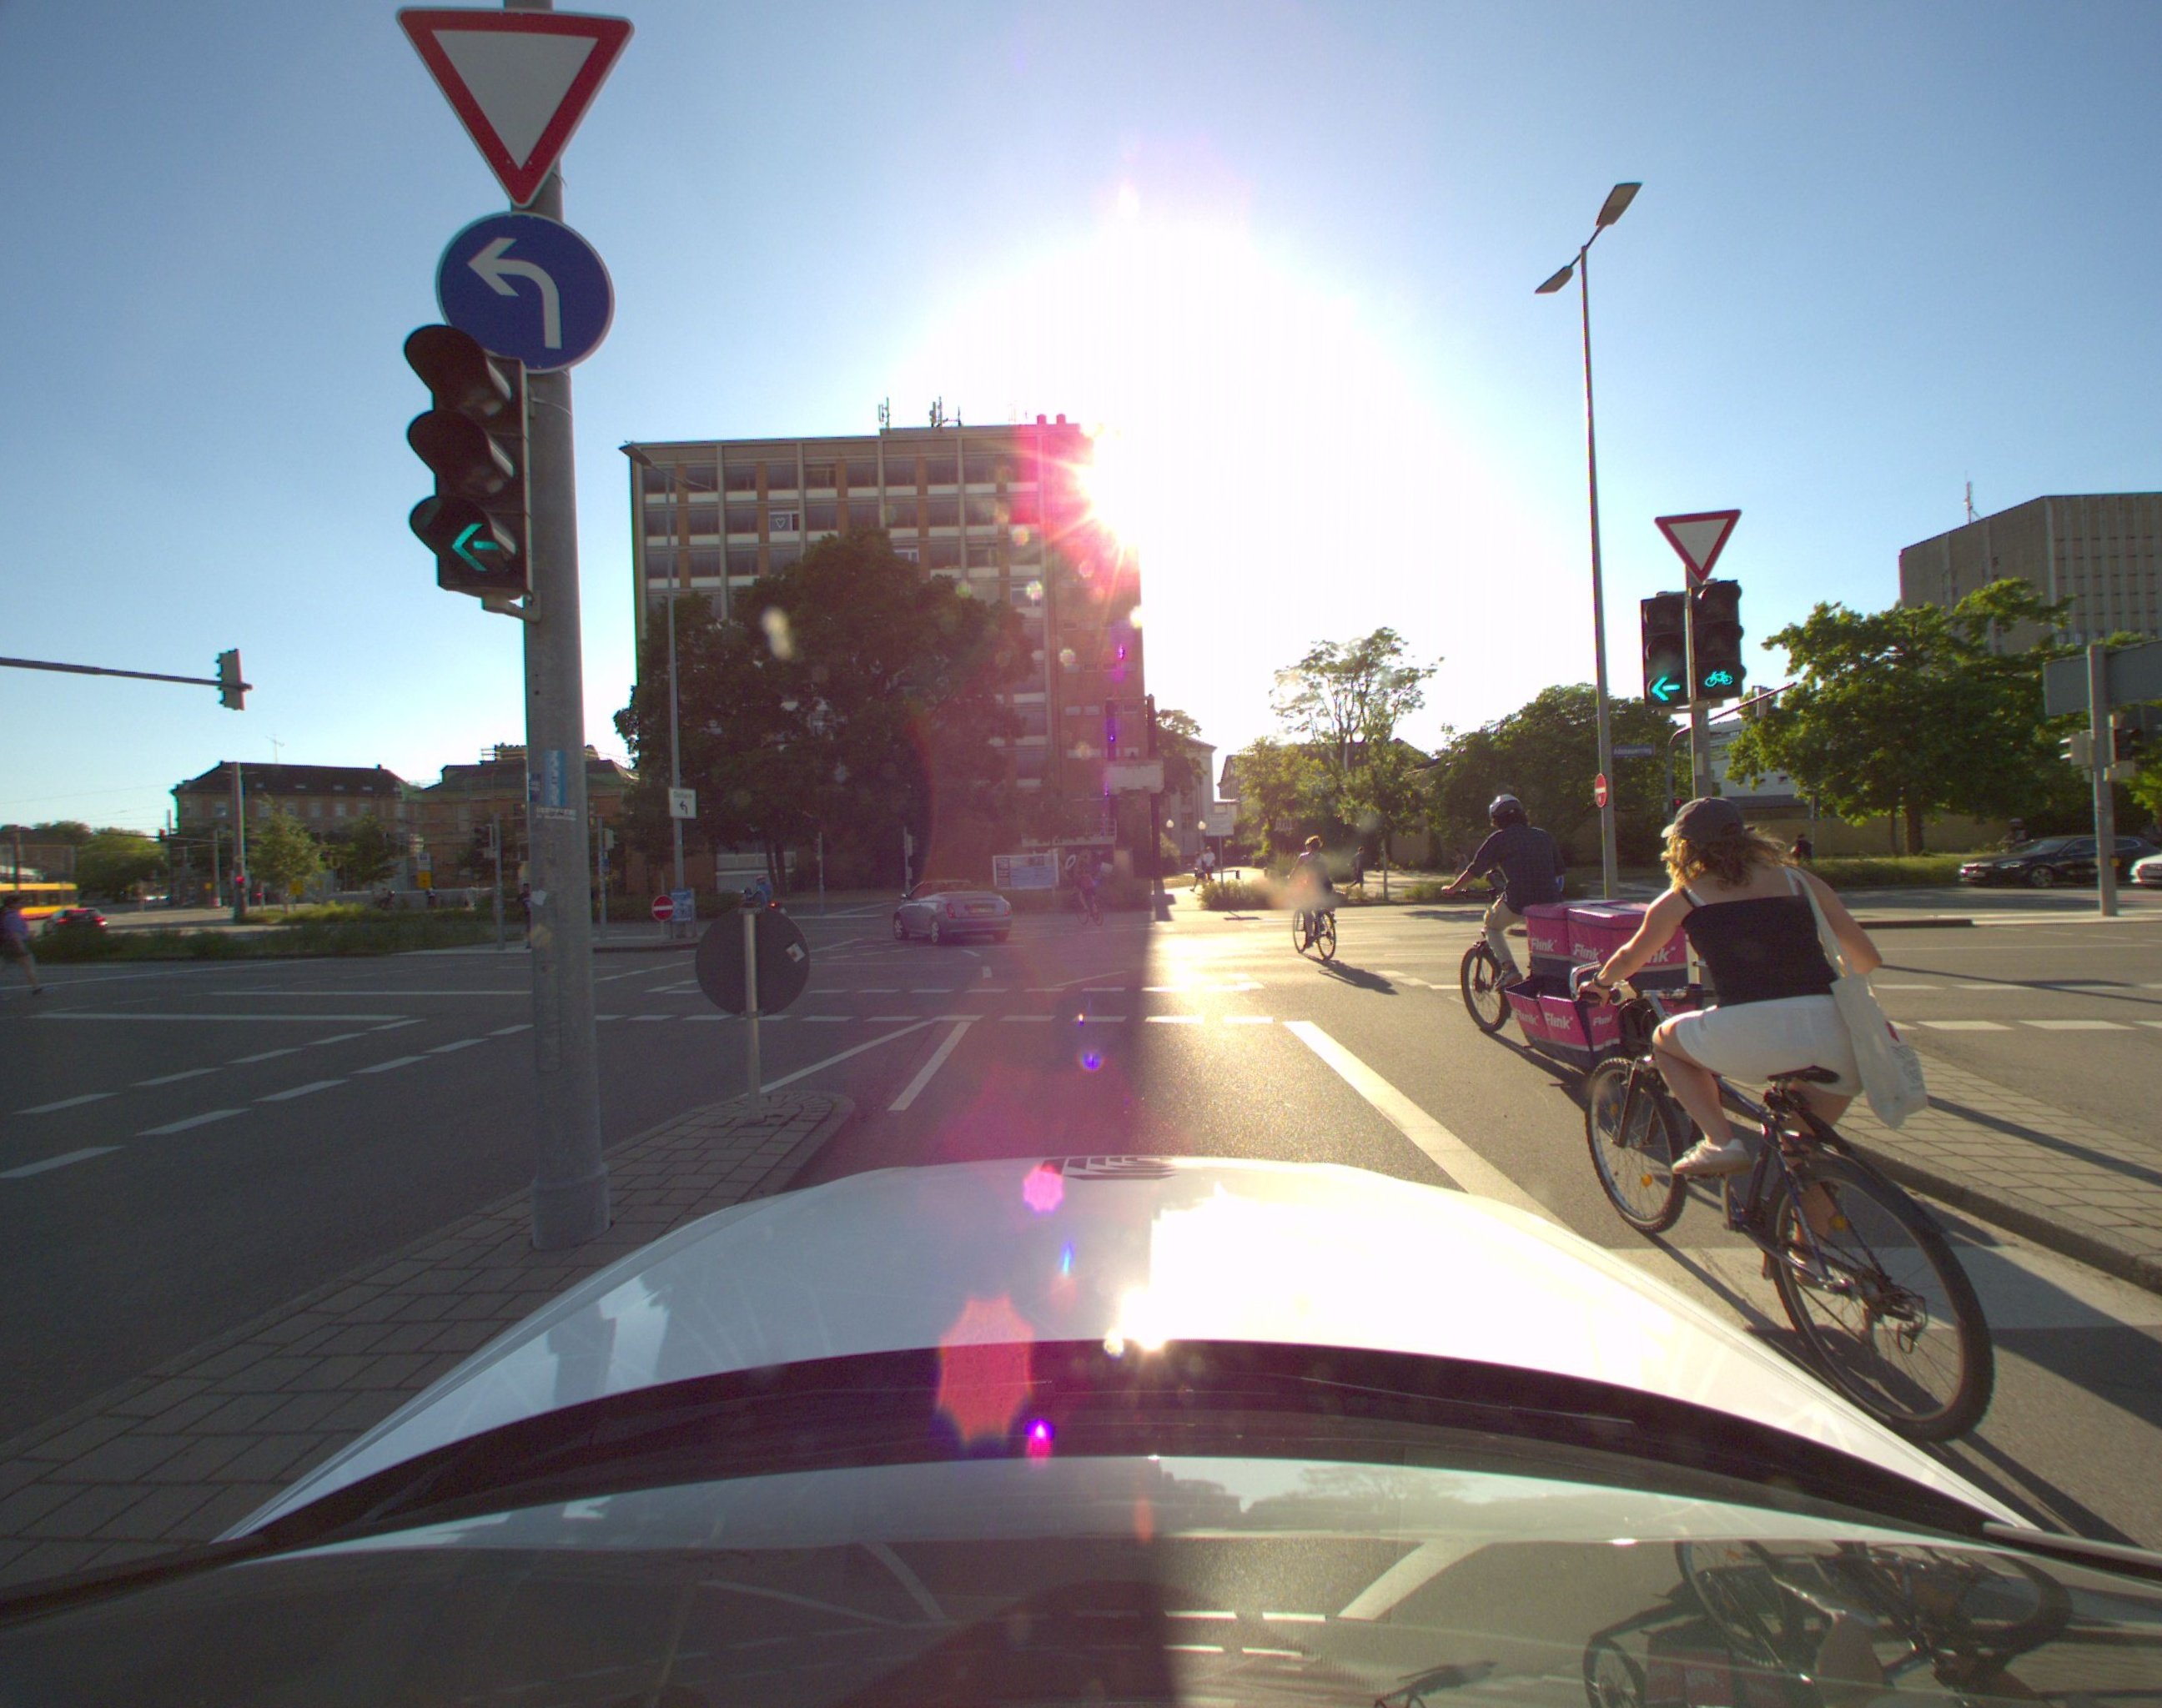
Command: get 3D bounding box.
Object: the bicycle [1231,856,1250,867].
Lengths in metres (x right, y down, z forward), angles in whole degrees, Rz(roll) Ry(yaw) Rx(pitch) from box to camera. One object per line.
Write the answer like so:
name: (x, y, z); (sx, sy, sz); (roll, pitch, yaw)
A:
bicycle: (15.838, 0.713, 80.755); (1.786, 1.107, 0.500); (0, -1, 3)

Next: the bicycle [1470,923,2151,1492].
bicycle: (2.163, 0.910, 2.845); (0.715, 1.121, 1.869); (-1, 1, 0)

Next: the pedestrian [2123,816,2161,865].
pedestrian: (39.334, -0.513, 29.879); (0.844, 1.749, 1.018); (-2, 0, -2)

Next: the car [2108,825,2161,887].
car: (28.866, -0.037, 20.065); (4.393, 1.519, 1.807); (-3, 0, 7)

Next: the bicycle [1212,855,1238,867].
bicycle: (16.181, 0.799, 91.714); (2.859, 1.381, 0.683); (0, -1, 3)

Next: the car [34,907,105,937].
car: (-54.190, 3.635, 43.619); (3.927, 1.444, 1.818); (-3, -2, 30)

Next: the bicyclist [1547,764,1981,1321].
bicyclist: (2.157, 0.526, 2.708); (0.713, 1.549, 0.849); (0, -1, 0)

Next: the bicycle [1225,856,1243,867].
bicycle: (16.046, 0.748, 85.303); (1.786, 1.107, 0.500); (0, -1, 3)

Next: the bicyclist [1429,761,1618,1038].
bicyclist: (3.210, 0.311, 6.028); (0.774, 1.833, 1.094); (-2, 0, 3)

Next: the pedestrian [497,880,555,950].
pedestrian: (-14.033, 1.532, 20.613); (0.739, 1.685, 0.904); (-2, -1, 20)

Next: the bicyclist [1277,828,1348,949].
bicyclist: (3.383, 0.489, 12.004); (0.774, 1.677, 1.095); (-2, 0, 6)

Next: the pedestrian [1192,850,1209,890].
pedestrian: (5.253, 0.705, 35.768); (0.624, 1.699, 0.625); (-3, -1, 13)

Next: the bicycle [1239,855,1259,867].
bicycle: (15.865, 0.681, 76.847); (1.786, 1.107, 0.500); (0, -1, 3)

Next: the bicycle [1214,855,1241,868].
bicycle: (16.028, 0.779, 89.135); (2.859, 1.381, 0.683); (0, -1, 3)

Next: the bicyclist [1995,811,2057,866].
bicyclist: (32.438, -0.521, 27.962); (1.082, 1.830, 0.783); (-3, -1, 13)

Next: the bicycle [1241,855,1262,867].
bicycle: (15.769, 0.648, 75.349); (1.786, 1.107, 0.500); (0, -1, 3)

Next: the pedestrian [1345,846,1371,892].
pedestrian: (10.682, 0.572, 31.460); (0.728, 1.713, 0.713); (-3, 0, 4)

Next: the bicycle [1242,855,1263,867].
bicycle: (15.670, 0.617, 74.545); (1.786, 1.107, 0.500); (0, -1, 3)

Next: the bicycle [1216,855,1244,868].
bicycle: (15.968, 0.763, 87.096); (2.859, 1.381, 0.683); (0, -1, 3)

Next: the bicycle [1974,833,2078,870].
bicycle: (32.419, -0.090, 27.976); (2.267, 1.156, 0.783); (-3, 0, 13)

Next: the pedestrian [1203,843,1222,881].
pedestrian: (6.572, 0.401, 40.729); (0.579, 1.869, 0.616); (-2, -1, -35)

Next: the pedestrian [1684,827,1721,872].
pedestrian: (24.366, -0.163, 31.944); (0.871, 1.704, 0.676); (-2, 0, -1)

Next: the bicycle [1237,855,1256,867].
bicycle: (15.921, 0.693, 78.308); (1.786, 1.107, 0.500); (0, -1, 3)

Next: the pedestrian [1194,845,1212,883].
pedestrian: (6.175, 0.515, 41.274); (0.579, 1.869, 0.616); (-2, -1, -35)

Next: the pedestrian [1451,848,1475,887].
pedestrian: (15.601, 0.541, 33.241); (0.634, 1.574, 0.623); (-3, 0, 4)

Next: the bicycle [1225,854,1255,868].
bicycle: (15.920, 0.719, 81.522); (2.859, 1.381, 0.683); (0, -1, 3)

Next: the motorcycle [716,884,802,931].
motorcycle: (-10.057, 1.664, 25.401); (2.619, 1.377, 1.106); (-3, -2, 31)

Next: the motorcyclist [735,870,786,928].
motorcyclist: (-9.972, 1.391, 25.364); (0.924, 1.721, 1.106); (-3, -2, 31)

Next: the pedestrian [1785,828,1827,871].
pedestrian: (27.008, -0.171, 30.359); (0.842, 1.543, 0.762); (-2, 0, -2)

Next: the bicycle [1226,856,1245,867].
bicycle: (15.819, 0.734, 83.376); (1.786, 1.107, 0.500); (0, -1, 3)

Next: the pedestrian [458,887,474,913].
pedestrian: (-39.971, 2.969, 52.917); (0.729, 1.659, 0.709); (1, -4, -41)

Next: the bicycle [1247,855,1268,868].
bicycle: (15.364, 0.637, 70.929); (1.786, 1.107, 0.500); (0, -1, 3)

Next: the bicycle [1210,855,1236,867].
bicycle: (16.288, 0.811, 93.310); (2.859, 1.381, 0.683); (0, -1, 3)

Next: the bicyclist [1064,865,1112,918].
bicyclist: (0.180, 1.024, 22.199); (0.726, 1.384, 1.063); (-1, -3, -40)

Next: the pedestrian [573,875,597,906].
pedestrian: (-27.868, 2.039, 45.770); (0.781, 1.658, 0.813); (-2, 0, 22)

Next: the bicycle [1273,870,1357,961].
bicycle: (3.406, 0.847, 12.082); (0.774, 1.156, 2.295); (-2, 0, 6)

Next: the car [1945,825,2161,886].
car: (28.089, 0.059, 23.578); (3.965, 1.519, 1.807); (-3, 0, 7)

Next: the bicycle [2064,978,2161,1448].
bicycle: (3.121, 0.916, 1.214); (0.716, 1.121, 2.062); (-1, 1, -7)

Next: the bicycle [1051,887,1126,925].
bicycle: (0.166, 1.418, 22.226); (0.726, 0.952, 2.222); (-1, -3, -40)

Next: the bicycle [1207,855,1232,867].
bicycle: (16.253, 0.828, 95.375); (2.859, 1.381, 0.683); (0, -1, 3)

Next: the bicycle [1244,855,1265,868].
bicycle: (15.547, 0.651, 72.859); (1.786, 1.107, 0.500); (0, -1, 3)

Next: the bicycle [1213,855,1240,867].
bicycle: (16.063, 0.786, 90.004); (2.859, 1.381, 0.683); (0, -1, 3)

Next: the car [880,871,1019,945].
car: (-3.097, 1.180, 18.513); (1.812, 1.444, 3.939); (-1, -2, -30)

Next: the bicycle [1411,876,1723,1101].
bicycle: (3.211, 0.782, 5.803); (0.774, 1.156, 2.583); (-2, 0, 4)

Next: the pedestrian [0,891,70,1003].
pedestrian: (-17.472, 1.506, 13.321); (0.748, 1.741, 0.932); (-3, -1, 20)

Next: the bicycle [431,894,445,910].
bicycle: (-47.178, 3.515, 59.781); (0.631, 1.038, 1.942); (-4, 1, -34)

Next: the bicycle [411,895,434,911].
bicycle: (-47.592, 3.565, 58.862); (1.937, 1.038, 0.797); (-4, 1, 38)

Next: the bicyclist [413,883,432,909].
bicyclist: (-47.570, 3.058, 58.799); (0.882, 1.786, 0.794); (-4, 0, 38)
